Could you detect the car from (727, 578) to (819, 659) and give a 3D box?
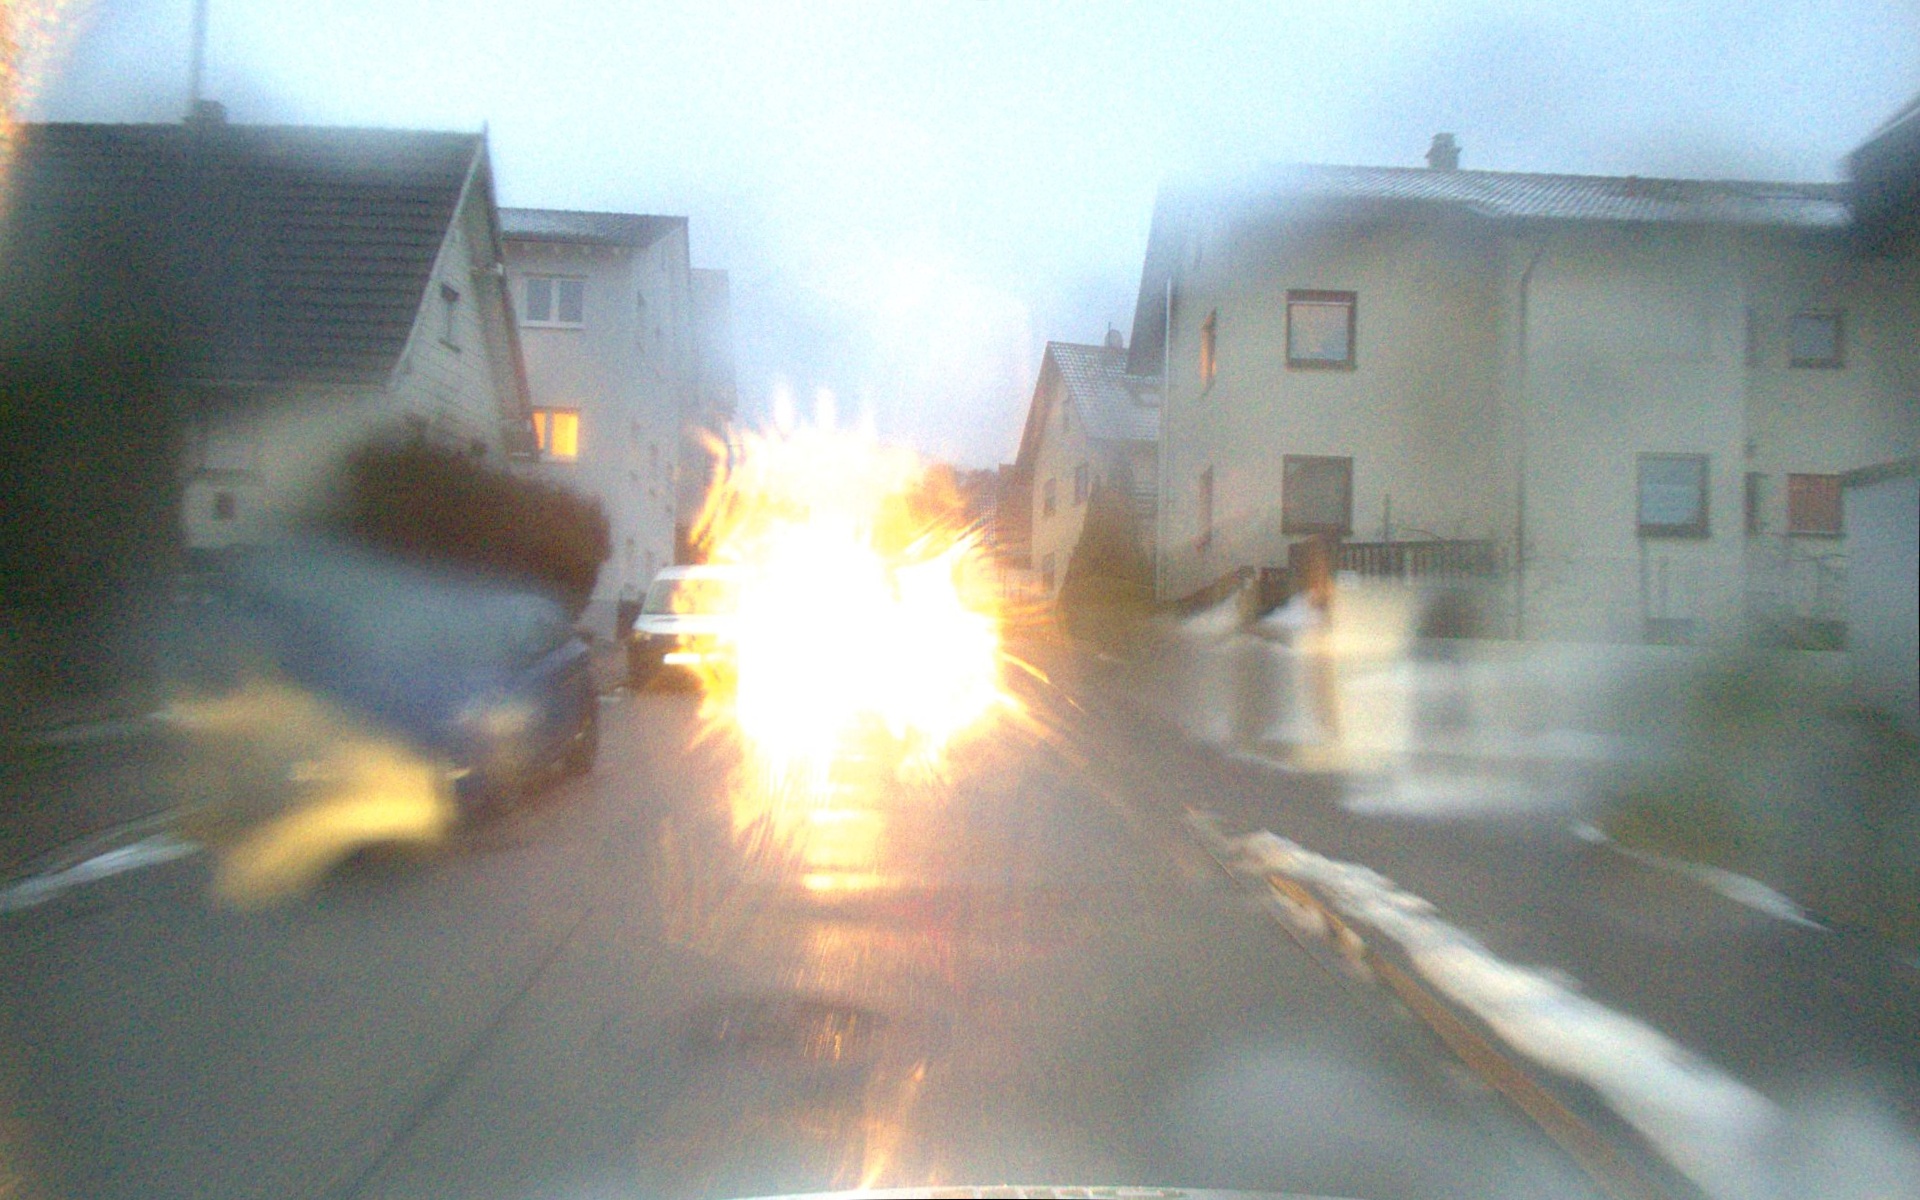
[{"bbox_3d":[-4.437,0.414,39.700,1.954,1.832,3.998,0,0,-3],"label":"car"}]

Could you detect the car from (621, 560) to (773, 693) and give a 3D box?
[{"bbox_3d":[-3.949,0.362,25.461,1.789,1.867,4.343,0,0,-2],"label":"car"}]

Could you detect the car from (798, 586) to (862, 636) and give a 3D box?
[{"bbox_3d":[-4.517,0.426,58.078,1.953,1.679,3.999,0,-1,-1],"label":"car"}]

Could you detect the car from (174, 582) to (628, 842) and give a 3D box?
[{"bbox_3d":[-3.727,0.655,11.902,1.757,1.530,4.310,0,0,1],"label":"car"}]

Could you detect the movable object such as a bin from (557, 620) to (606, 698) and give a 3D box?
[{"bbox_3d":[-4.928,0.763,21.548,0.473,0.932,0.600,4,2,-4],"label":"movable object such as a bin"}]
